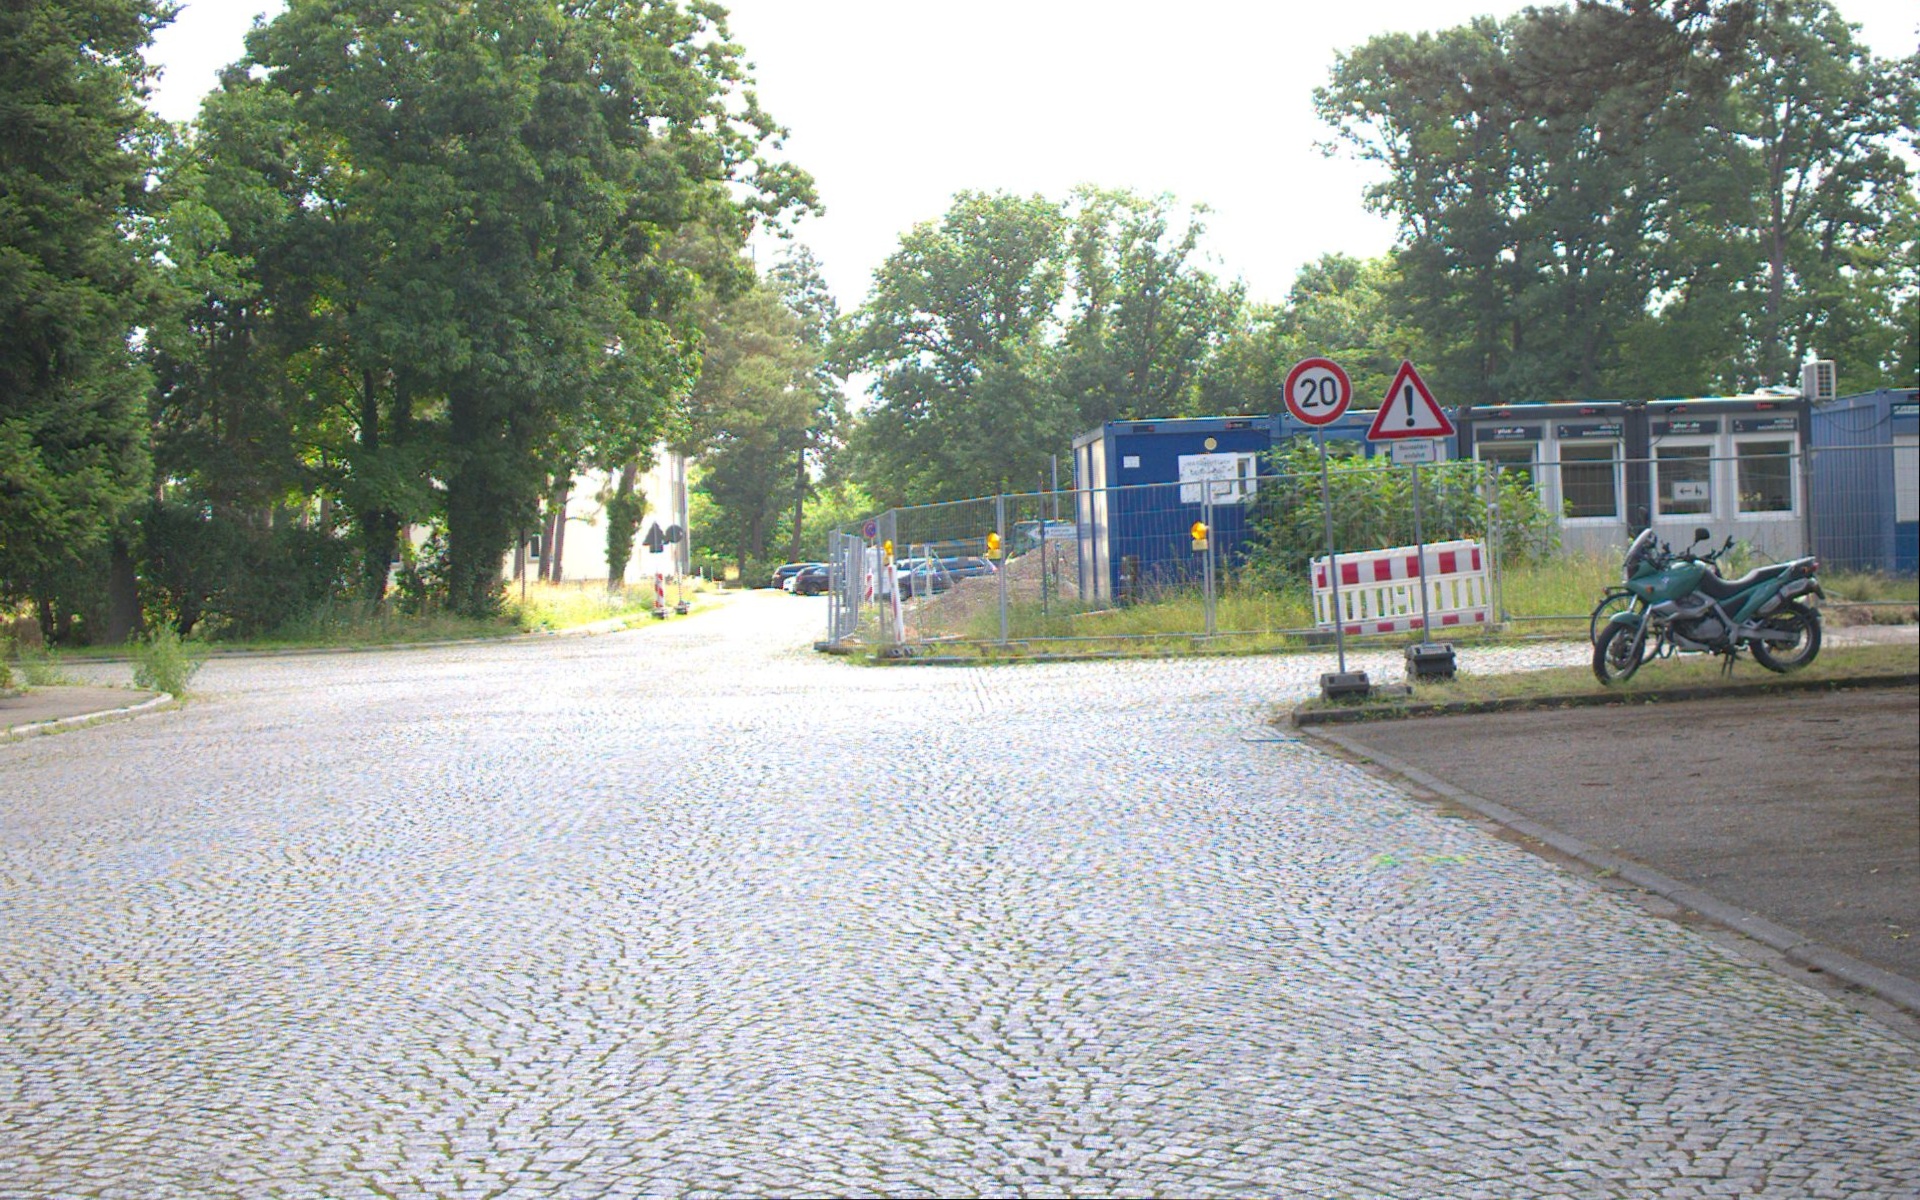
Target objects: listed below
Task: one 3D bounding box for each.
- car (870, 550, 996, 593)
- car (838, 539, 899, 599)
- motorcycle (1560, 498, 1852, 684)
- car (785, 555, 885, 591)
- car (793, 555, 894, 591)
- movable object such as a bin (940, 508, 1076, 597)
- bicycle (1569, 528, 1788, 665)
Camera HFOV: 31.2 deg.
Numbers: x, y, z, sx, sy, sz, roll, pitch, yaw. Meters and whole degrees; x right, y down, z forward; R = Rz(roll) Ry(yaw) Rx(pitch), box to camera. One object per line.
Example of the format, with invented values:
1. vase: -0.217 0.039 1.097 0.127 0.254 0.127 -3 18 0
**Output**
1. car: -0.971 -1.063 126.573 4.403 1.505 2.000 -1 1 7
2. car: -3.240 -1.093 120.726 1.993 2.007 4.091 -2 0 -3
3. motorcycle: 6.430 -0.085 29.677 2.276 1.480 0.757 -3 1 -6
4. car: -6.262 -1.338 172.034 4.779 1.635 2.000 -2 0 -7
5. car: -5.728 -1.314 168.942 4.779 1.635 2.000 -2 0 -7
6. movable object such as a bin: 1.487 -1.458 104.369 2.132 2.584 4.784 -2 1 28
7. bicycle: 6.731 -0.031 32.190 1.900 1.193 0.655 -2 1 18
